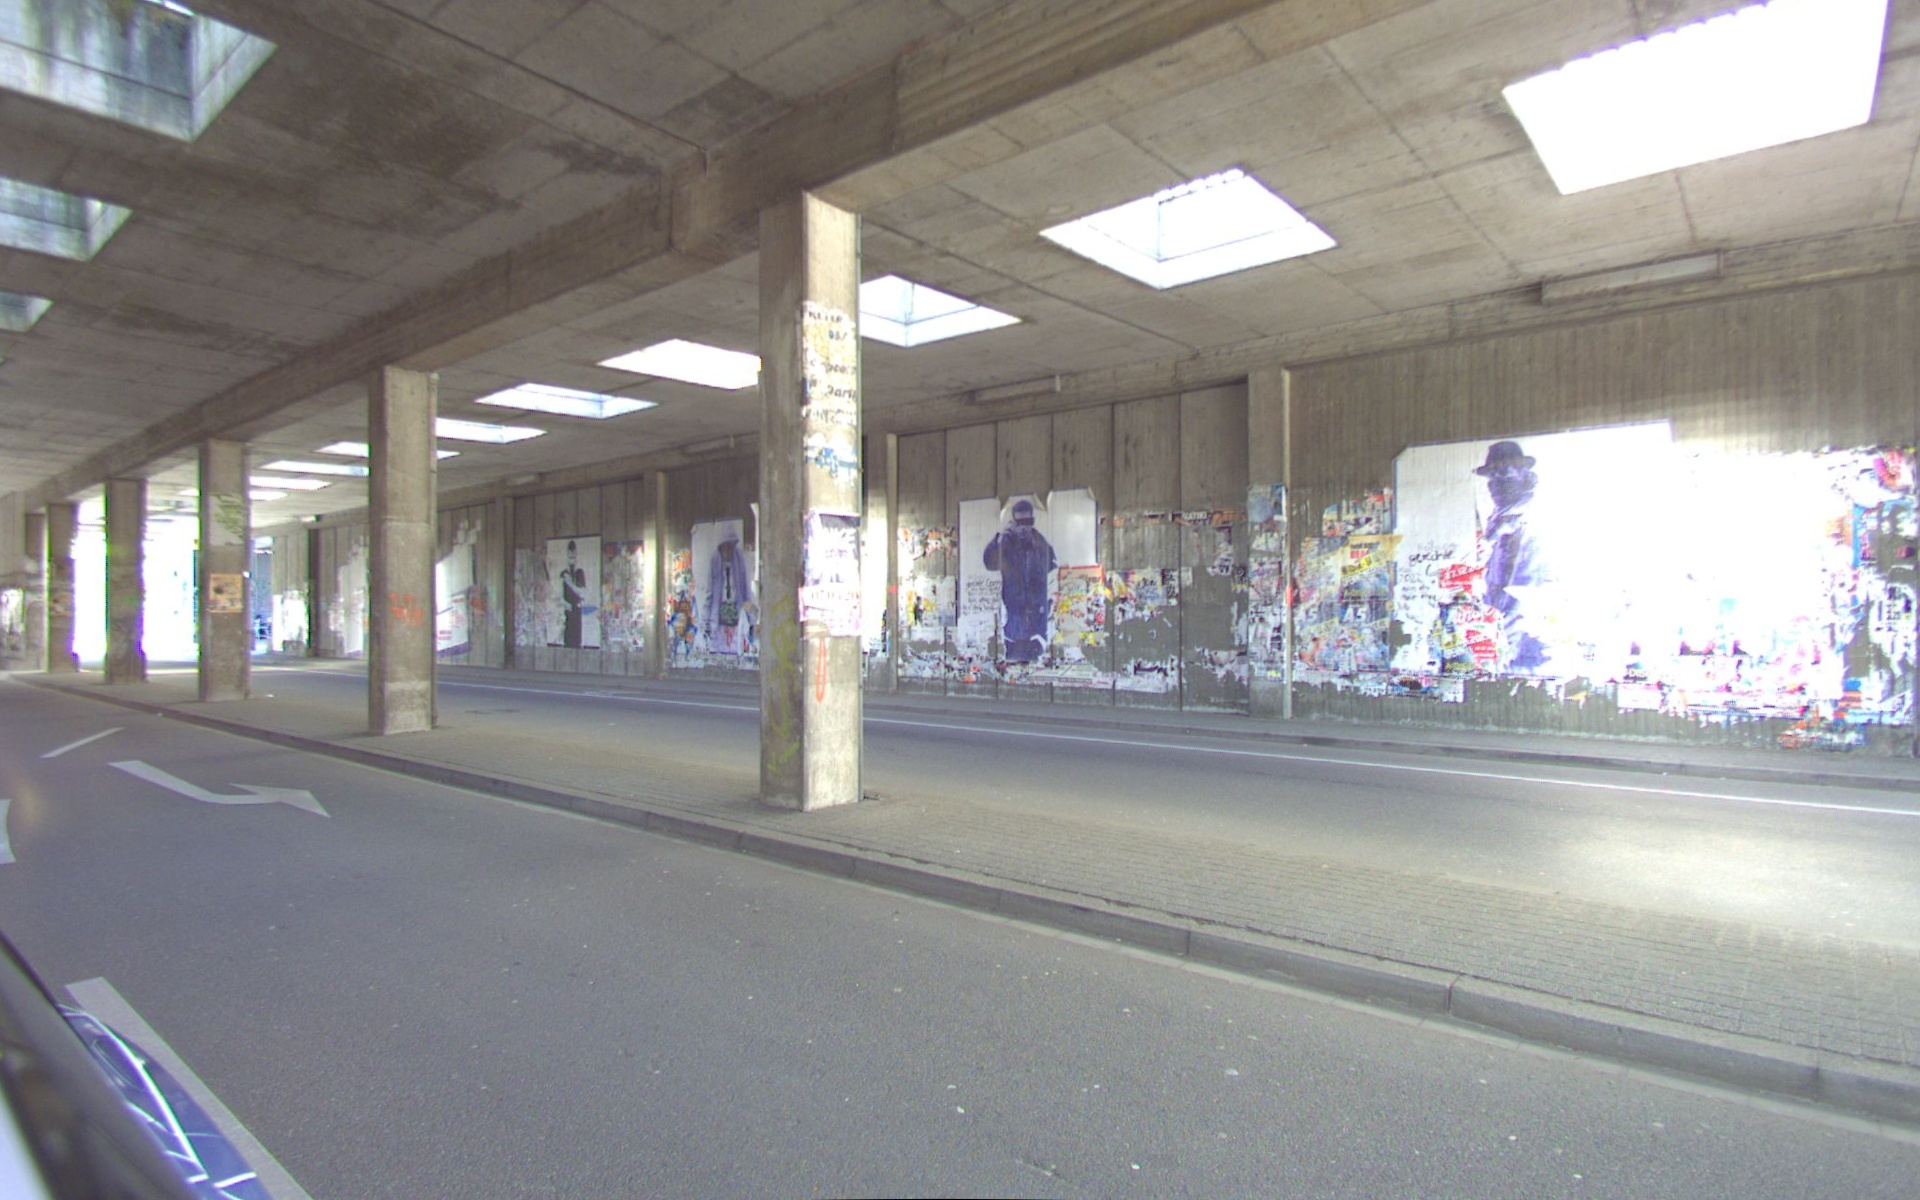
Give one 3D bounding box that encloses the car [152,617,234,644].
[{"bbox_3d":[-50.012,1.953,66.032,1.998,1.719,3.947,-1,-2,39],"label":"car"}]
